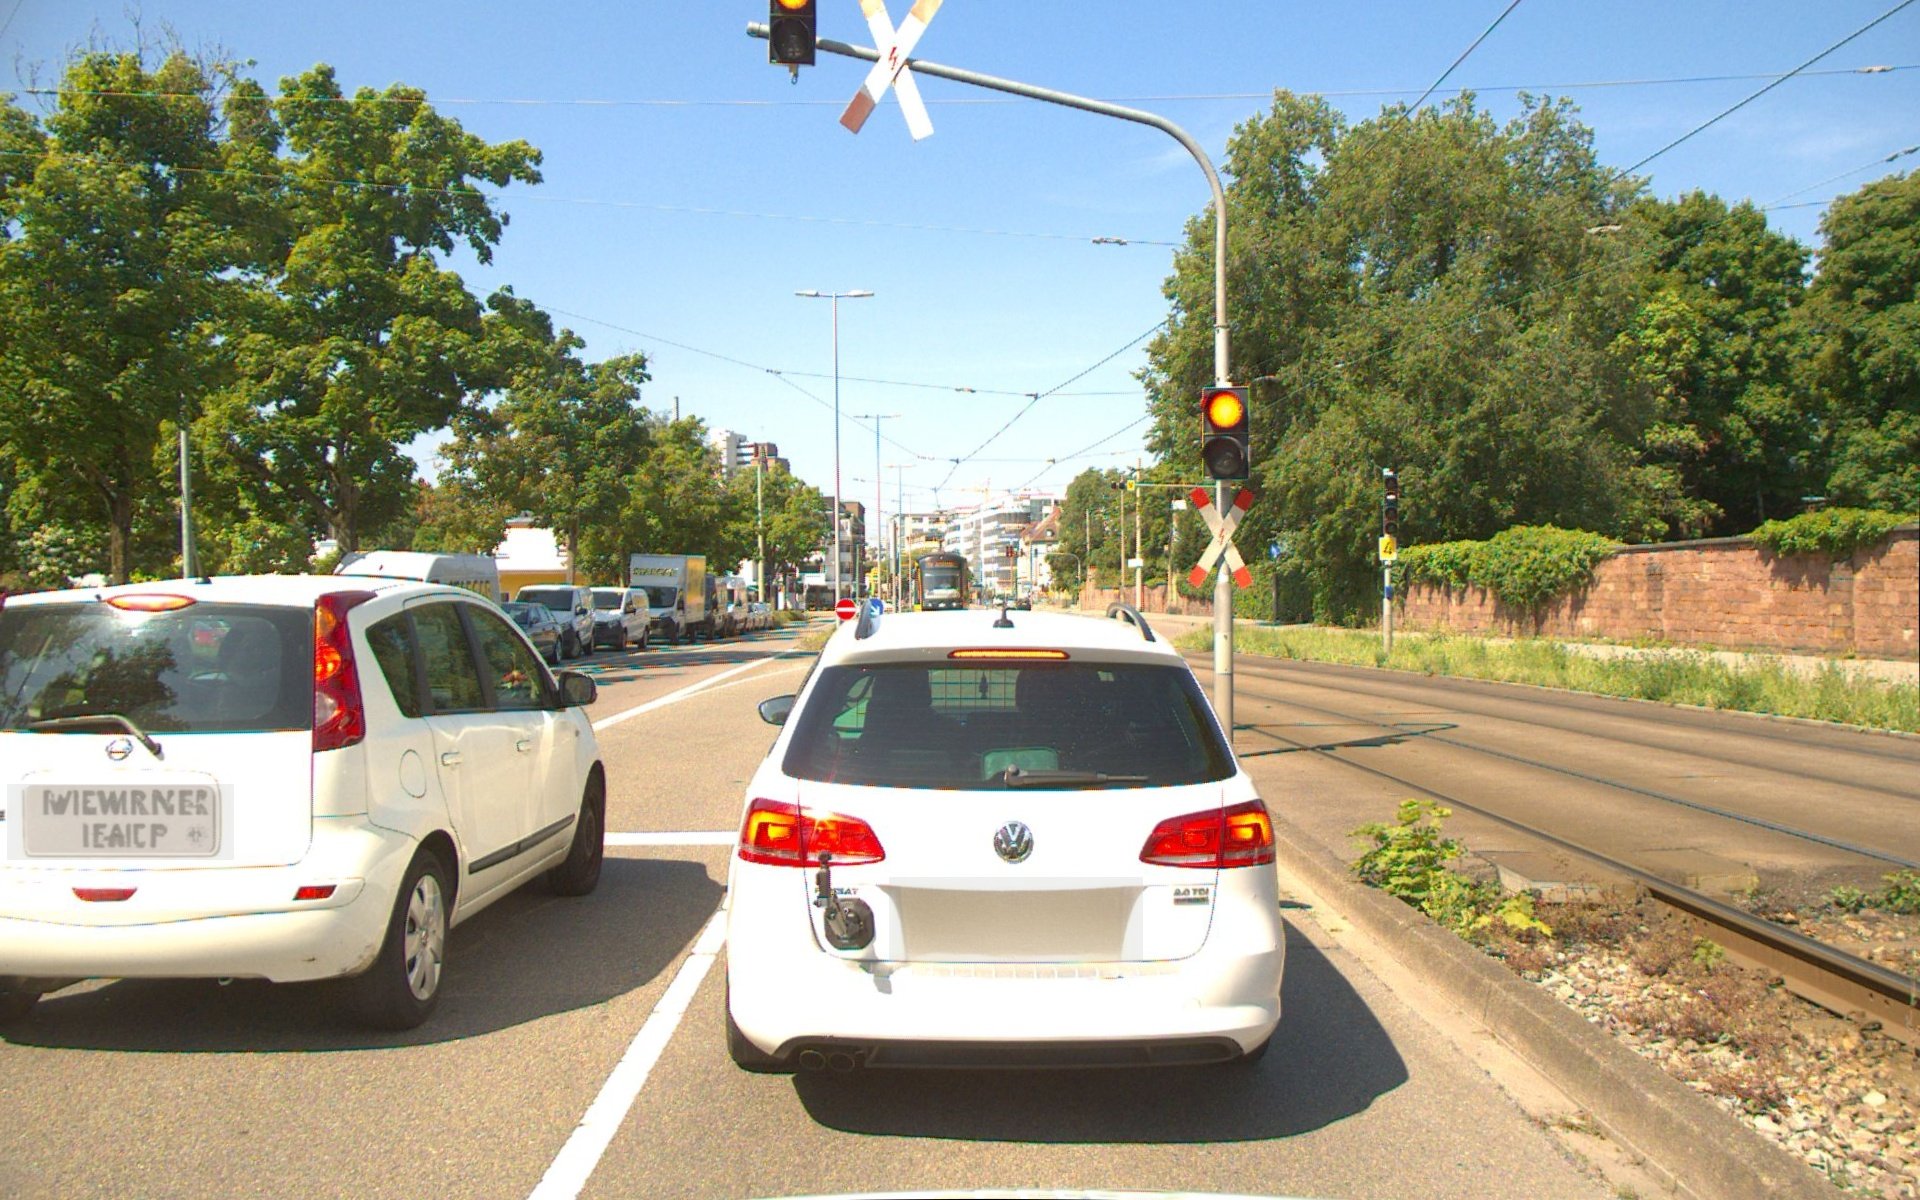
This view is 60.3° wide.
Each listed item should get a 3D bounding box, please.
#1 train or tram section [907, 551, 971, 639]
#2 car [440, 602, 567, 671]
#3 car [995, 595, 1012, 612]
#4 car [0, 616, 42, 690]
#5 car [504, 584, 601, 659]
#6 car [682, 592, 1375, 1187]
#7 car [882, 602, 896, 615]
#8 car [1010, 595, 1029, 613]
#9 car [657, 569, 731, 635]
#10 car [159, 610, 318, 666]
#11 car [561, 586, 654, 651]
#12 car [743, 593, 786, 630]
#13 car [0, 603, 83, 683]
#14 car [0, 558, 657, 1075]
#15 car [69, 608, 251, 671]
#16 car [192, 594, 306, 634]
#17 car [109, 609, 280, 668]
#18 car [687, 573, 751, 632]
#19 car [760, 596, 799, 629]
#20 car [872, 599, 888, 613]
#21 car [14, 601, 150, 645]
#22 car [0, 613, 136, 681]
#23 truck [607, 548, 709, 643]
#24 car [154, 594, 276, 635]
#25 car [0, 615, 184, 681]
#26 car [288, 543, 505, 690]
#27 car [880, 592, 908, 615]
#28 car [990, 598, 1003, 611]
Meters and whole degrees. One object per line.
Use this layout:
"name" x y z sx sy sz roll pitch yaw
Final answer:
"train or tram section" -0.946 -0.255 80.996 2.812 3.923 12.391 -1 0 0
"car" -10.558 0.805 38.562 1.826 1.440 4.278 1 0 -1
"car" 5.241 0.389 199.697 1.826 1.900 5.060 1 0 -2
"car" -20.742 1.126 32.920 3.909 1.440 1.728 -2 0 -5
"car" -11.032 0.534 45.092 1.828 1.900 5.068 1 0 -6
"car" 0.149 0.720 6.184 1.726 1.455 3.999 -1 0 -1
"car" -9.029 1.059 211.003 1.671 1.499 4.588 -1 0 -1
"car" 6.658 0.462 185.123 1.826 1.900 5.060 1 0 -2
"car" -10.886 0.071 68.144 2.079 2.560 5.733 1 0 0
"car" -21.286 1.106 48.925 3.909 1.440 1.728 -2 0 -5
"car" -10.945 0.532 51.721 1.826 1.900 5.412 1 0 -1
"car" -10.770 0.609 91.504 1.826 1.900 5.412 1 0 -1
"car" -21.086 0.966 35.113 3.909 1.638 1.728 -2 0 -5
"car" -2.575 0.648 7.310 1.628 1.575 4.546 0 0 0
"car" -21.120 1.029 43.779 3.909 1.440 1.728 -2 0 -5
"car" -34.908 0.684 81.295 4.698 1.819 2.062 1 0 -5
"car" -21.298 1.062 46.107 3.909 1.440 1.728 -2 0 -5
"car" -10.960 0.103 75.579 2.079 2.560 5.733 1 0 0
"car" -10.719 0.716 98.421 1.826 1.900 5.412 1 0 -1
"car" -8.954 0.707 185.525 1.671 1.499 4.587 -1 0 -2
"car" -37.823 0.989 71.372 4.698 1.819 2.062 1 0 -5
"car" -21.621 1.119 38.555 3.909 1.440 1.728 -2 0 -5
"truck" -10.865 -0.170 60.146 2.371 3.205 6.996 1 0 0
"car" -34.382 0.672 76.437 4.698 1.819 2.062 1 0 -5
"car" -21.742 1.172 41.238 3.909 1.440 1.728 -2 0 -5
"car" -10.755 0.279 32.124 2.079 2.560 5.817 1 0 1
"car" -4.463 0.229 112.776 1.670 1.499 4.589 -1 0 0
"car" 5.617 0.745 255.328 1.826 1.900 5.060 1 0 -2
